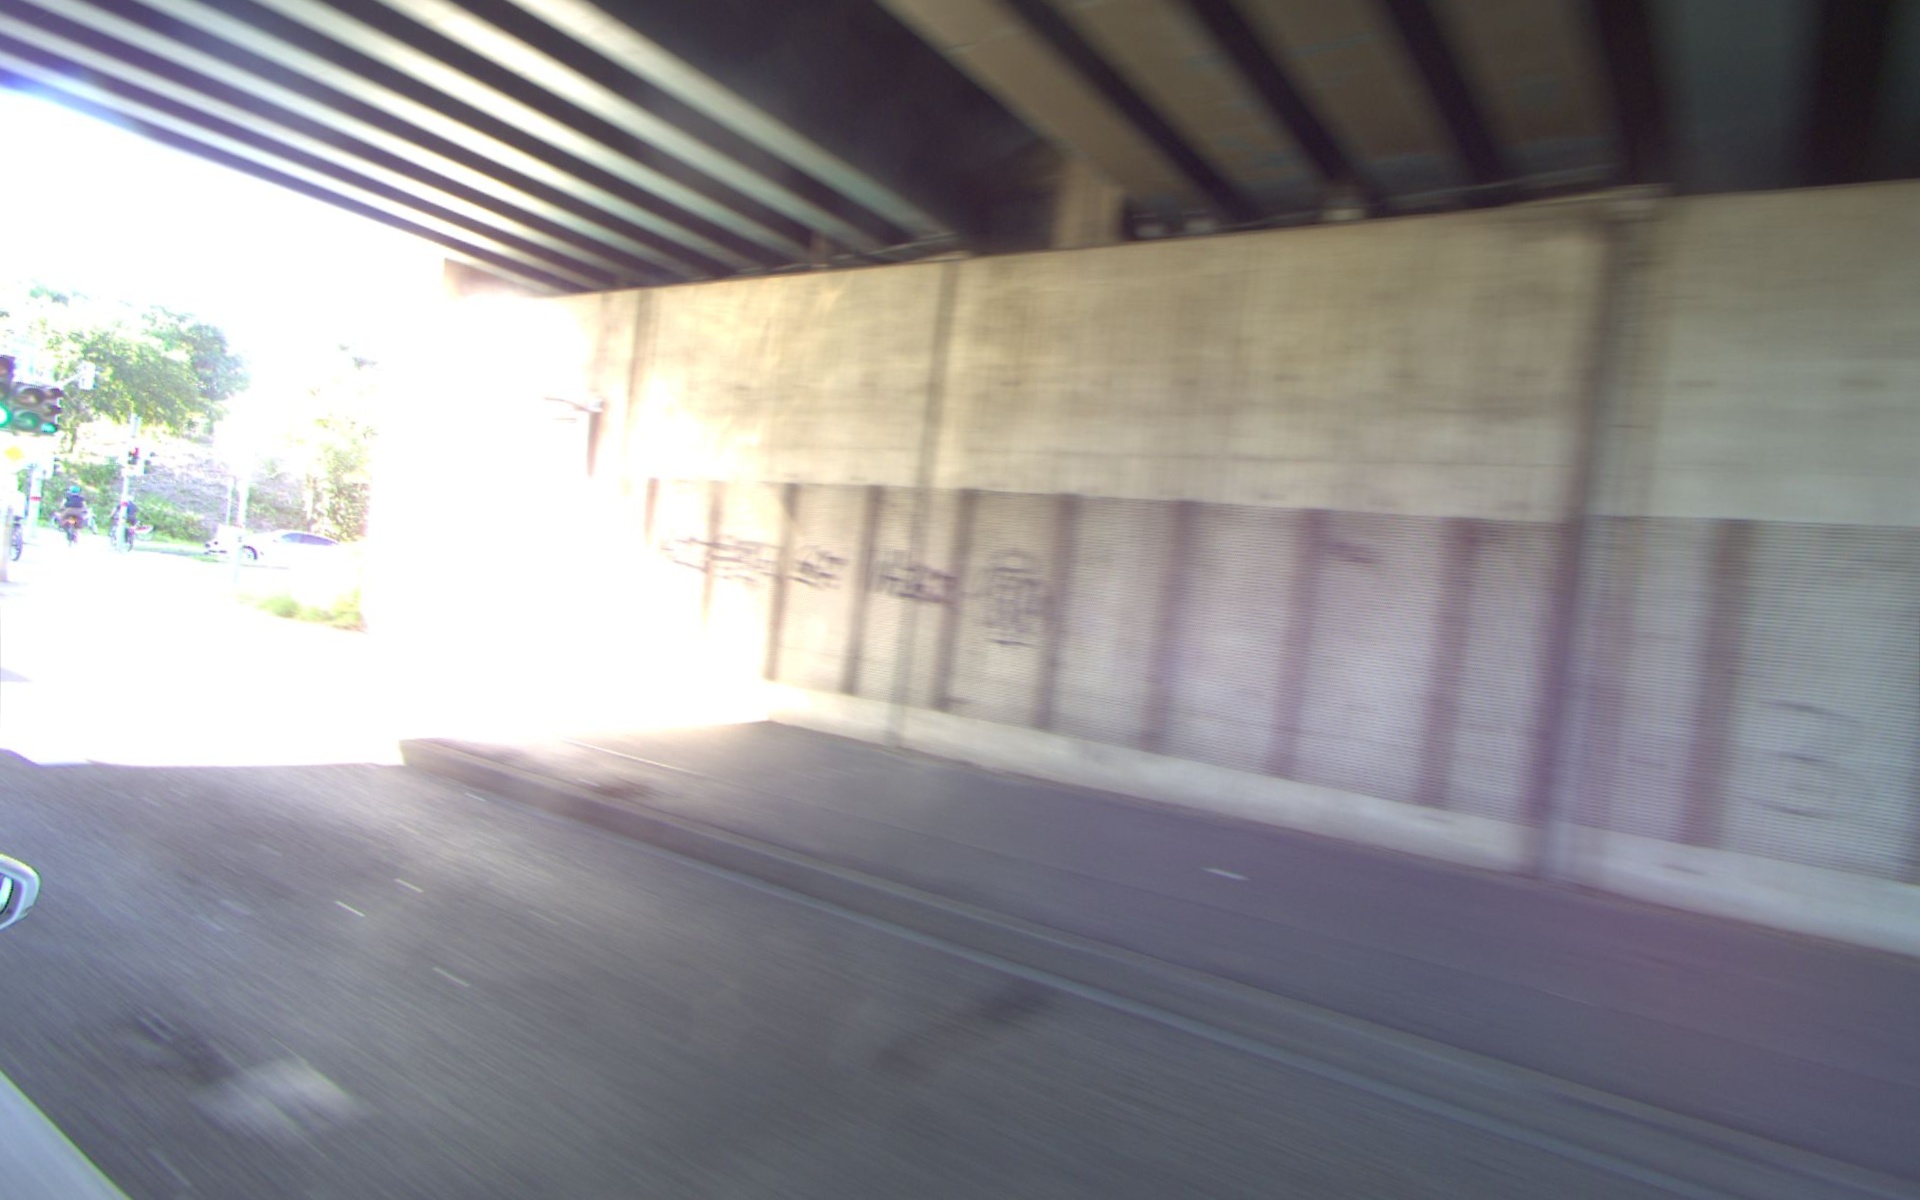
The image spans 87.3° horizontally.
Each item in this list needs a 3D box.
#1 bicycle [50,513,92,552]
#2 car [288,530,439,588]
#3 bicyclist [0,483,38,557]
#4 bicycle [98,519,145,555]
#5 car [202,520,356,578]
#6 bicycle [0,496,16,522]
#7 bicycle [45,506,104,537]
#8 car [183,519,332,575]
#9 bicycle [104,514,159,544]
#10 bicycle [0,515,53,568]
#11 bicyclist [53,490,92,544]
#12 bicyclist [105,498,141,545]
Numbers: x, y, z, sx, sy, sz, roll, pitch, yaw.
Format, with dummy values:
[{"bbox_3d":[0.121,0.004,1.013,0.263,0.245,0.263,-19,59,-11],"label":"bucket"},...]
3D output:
[{"bbox_3d":[-26.501,-2.017,29.974,2.029,1.035,0.670,4,-3,44],"label":"bicycle"},{"bbox_3d":[-22.761,-1.546,38.563,1.801,1.531,4.549,5,-3,38],"label":"car"},{"bbox_3d":[-21.264,-1.794,22.415,0.754,1.566,0.594,6,-1,14],"label":"bicyclist"},{"bbox_3d":[-28.514,-2.139,34.206,1.722,1.035,0.668,6,-2,33],"label":"bicycle"},{"bbox_3d":[-26.380,-1.944,39.096,1.801,1.531,4.549,5,-3,38],"label":"car"},{"bbox_3d":[-40.595,-3.905,41.891,0.585,1.035,1.744,5,-3,40],"label":"bicycle"},{"bbox_3d":[-38.090,-3.388,43.276,0.585,1.035,1.744,5,-3,40],"label":"bicycle"},{"bbox_3d":[-28.370,-2.104,40.748,1.801,1.531,4.549,5,-3,38],"label":"car"},{"bbox_3d":[-36.407,-3.103,44.228,0.586,1.035,1.743,5,-3,42],"label":"bicycle"},{"bbox_3d":[-21.200,-1.348,22.370,1.717,1.035,0.594,6,-2,14],"label":"bicycle"},{"bbox_3d":[-26.394,-2.456,29.918,0.741,1.491,0.664,5,-2,43],"label":"bicyclist"},{"bbox_3d":[-28.493,-2.671,34.243,0.608,1.498,0.650,7,0,33],"label":"bicyclist"}]
